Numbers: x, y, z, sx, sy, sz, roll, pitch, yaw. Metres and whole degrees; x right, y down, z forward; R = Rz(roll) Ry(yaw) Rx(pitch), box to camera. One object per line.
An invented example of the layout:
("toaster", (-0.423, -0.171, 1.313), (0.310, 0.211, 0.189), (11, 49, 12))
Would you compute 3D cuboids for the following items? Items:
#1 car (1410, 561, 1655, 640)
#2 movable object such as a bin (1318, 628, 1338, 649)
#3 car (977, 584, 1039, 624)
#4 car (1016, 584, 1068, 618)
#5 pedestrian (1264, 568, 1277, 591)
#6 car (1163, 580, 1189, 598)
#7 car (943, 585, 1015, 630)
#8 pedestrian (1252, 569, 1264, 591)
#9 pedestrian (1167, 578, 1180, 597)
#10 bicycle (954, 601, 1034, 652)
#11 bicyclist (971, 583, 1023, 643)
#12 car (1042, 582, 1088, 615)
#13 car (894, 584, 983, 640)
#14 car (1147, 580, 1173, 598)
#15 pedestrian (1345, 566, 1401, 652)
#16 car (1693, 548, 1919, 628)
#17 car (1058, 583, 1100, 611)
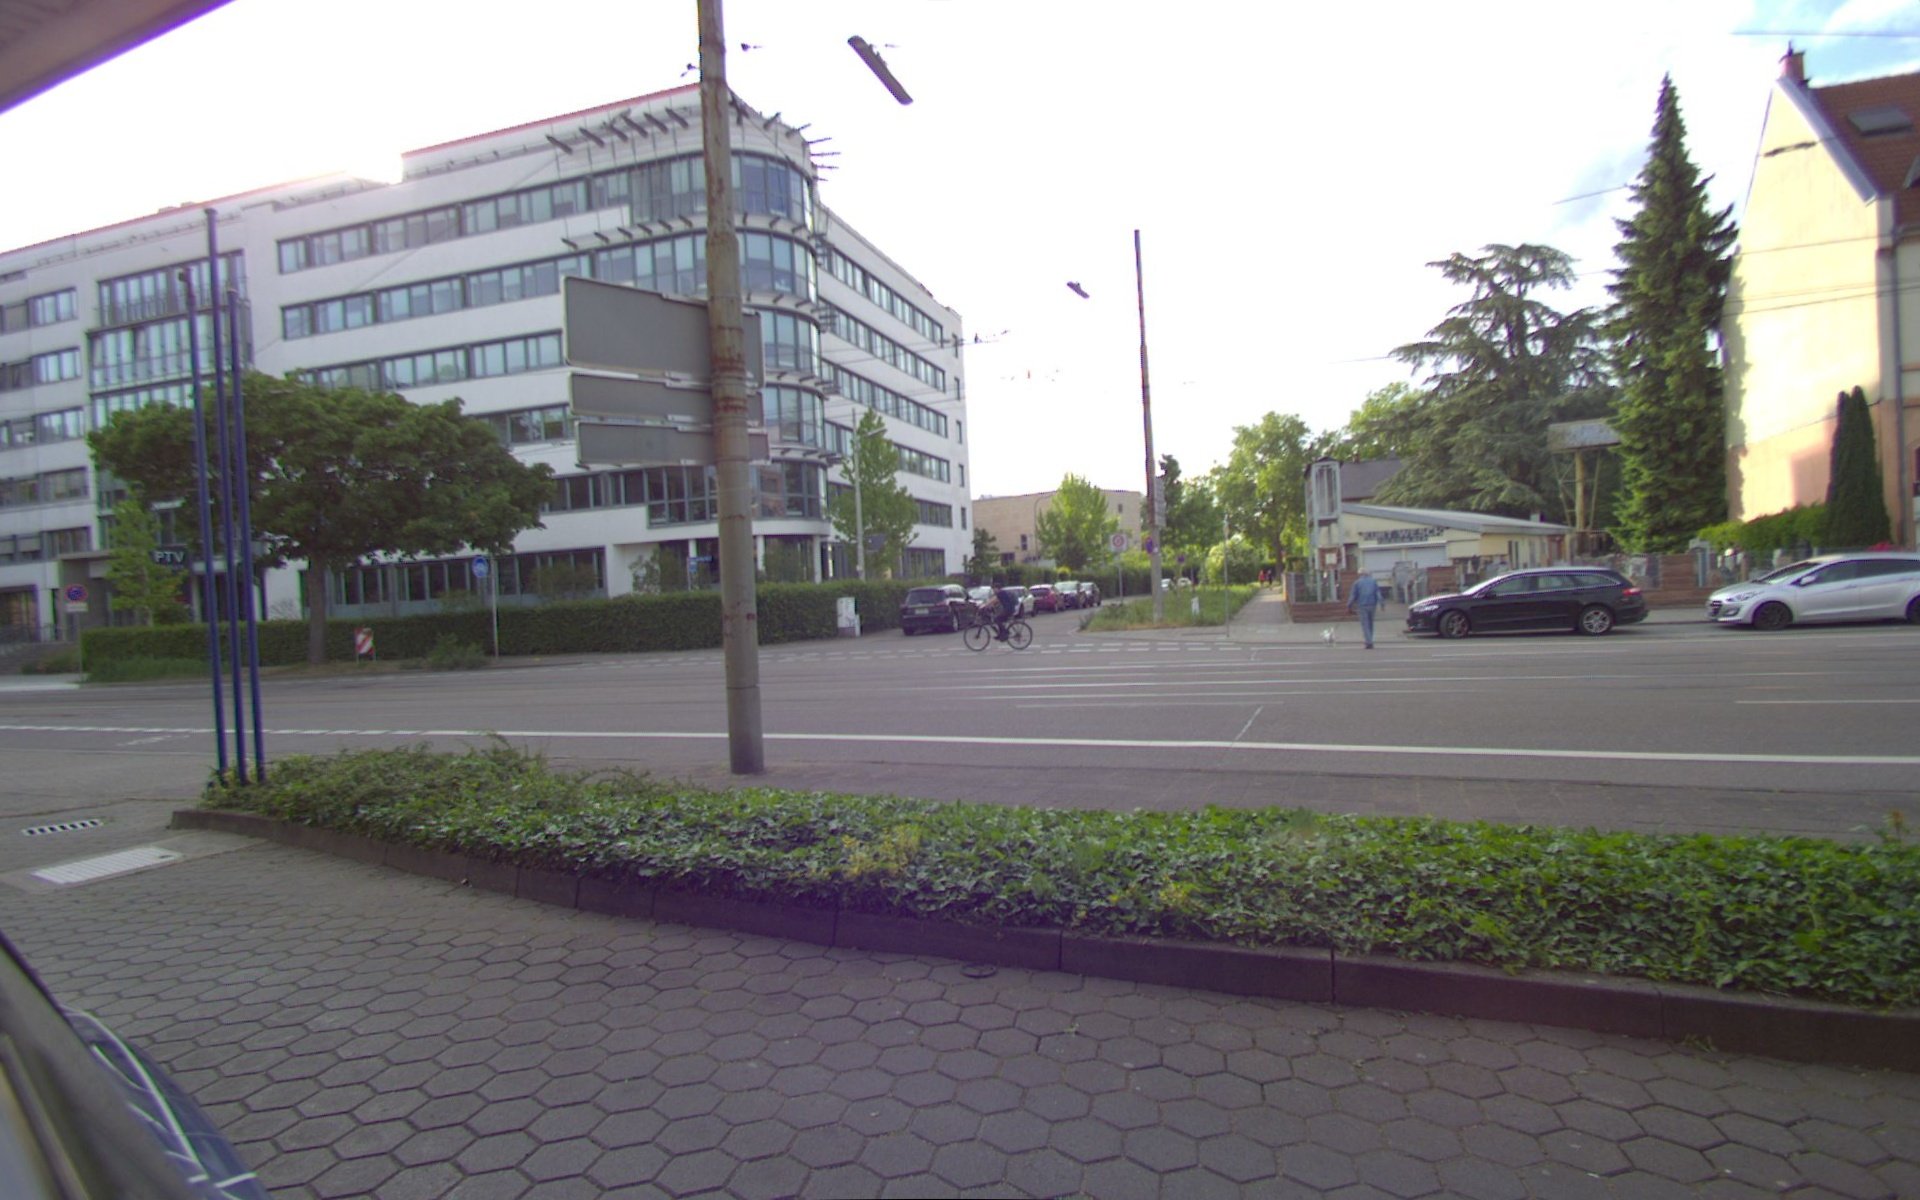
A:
("car", (13.018, 0.014, 23.372), (4.632, 1.533, 1.842), (-3, 2, 22))
("movable object such as a bin", (8.120, 0.849, 22.351), (0.363, 0.397, 0.660), (-3, 1, 16))
("car", (2.230, 0.155, 45.690), (1.807, 1.589, 4.175), (-4, 0, 16))
("car", (4.306, 0.025, 52.412), (1.807, 1.589, 4.175), (-4, 0, 16))
("pedestrian", (26.638, -1.738, 86.821), (0.965, 1.896, 1.056), (-1, 0, 17))
("car", (22.843, -1.154, 106.858), (1.813, 1.654, 4.040), (-4, 0, 25))
("car", (0.836, 0.273, 40.986), (1.807, 1.589, 4.175), (-4, 0, 16))
("pedestrian", (25.665, -1.725, 87.112), (0.965, 1.896, 1.056), (-1, 0, 17))
("pedestrian", (20.984, -1.232, 99.279), (0.969, 1.896, 1.052), (-1, 0, 28))
("bicycle", (0.863, 0.665, 25.432), (1.865, 1.248, 0.787), (-1, 0, 15))
("bicyclist", (0.934, 0.319, 25.391), (1.165, 1.462, 0.787), (-1, 0, 15))
("car", (6.037, -0.133, 57.810), (1.807, 1.704, 4.392), (-4, 0, 16))
("car", (-0.682, 0.361, 35.571), (1.807, 1.701, 4.370), (-4, 1, 16))
("car", (19.966, -1.133, 100.911), (1.811, 1.654, 4.044), (-4, 0, 22))
("pedestrian", (8.621, 0.173, 21.177), (0.901, 1.713, 0.921), (-3, 1, 16))
("car", (18.411, -0.261, 21.401), (4.349, 1.493, 1.732), (-3, 1, 22))
("car", (7.392, -0.211, 62.575), (1.807, 1.585, 4.052), (-4, 0, 16))
